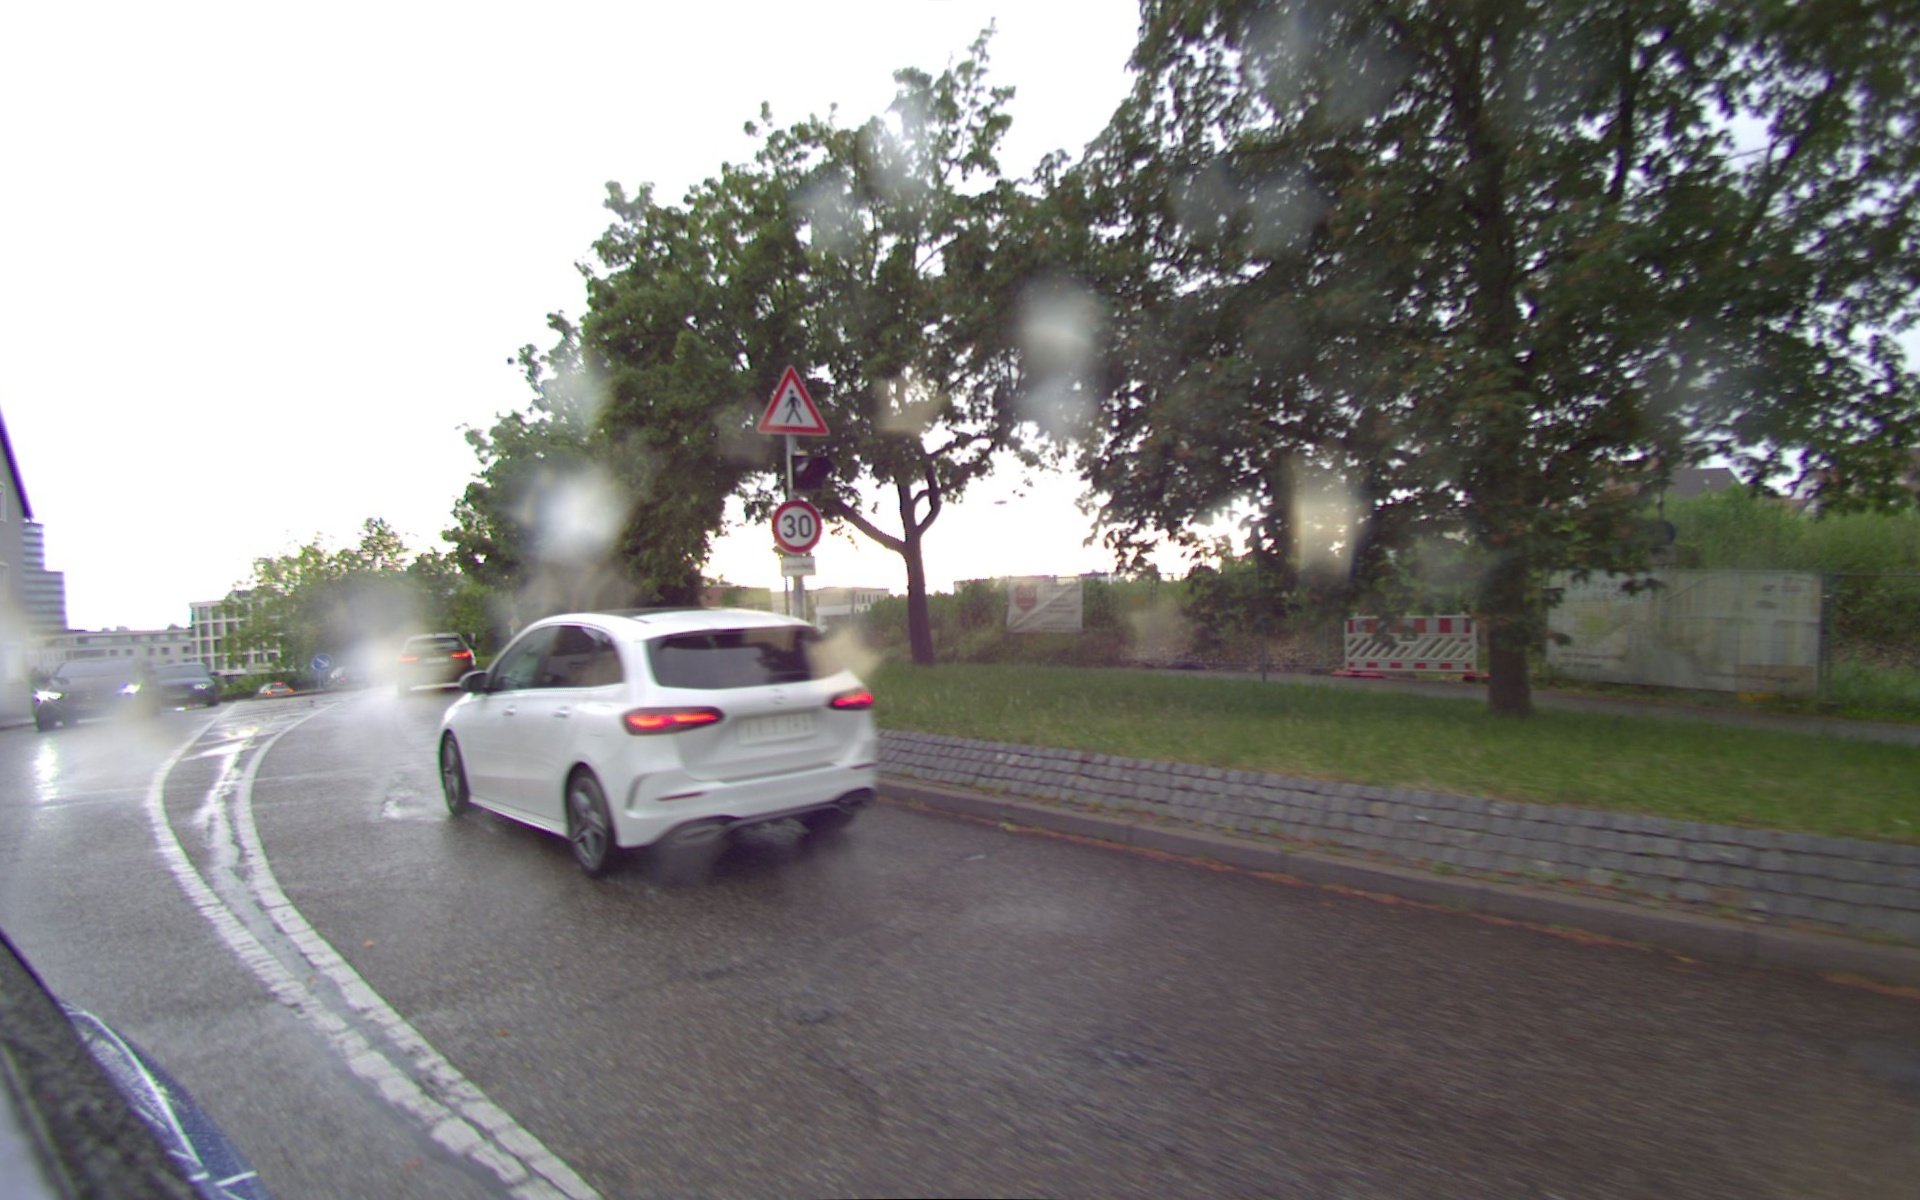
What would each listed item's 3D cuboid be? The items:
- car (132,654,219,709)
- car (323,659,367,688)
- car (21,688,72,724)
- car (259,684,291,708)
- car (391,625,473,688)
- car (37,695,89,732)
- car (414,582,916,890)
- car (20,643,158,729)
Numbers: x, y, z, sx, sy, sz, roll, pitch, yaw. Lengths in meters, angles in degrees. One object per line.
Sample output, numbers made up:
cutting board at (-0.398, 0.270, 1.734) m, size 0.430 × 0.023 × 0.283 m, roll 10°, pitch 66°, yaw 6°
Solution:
car at (-24.129, 2.570, 31.261) m, size 1.762 × 1.357 × 4.956 m, roll -5°, pitch -3°, yaw -35°
car at (-36.592, 4.383, 60.164) m, size 1.620 × 1.532 × 4.078 m, roll -4°, pitch -2°, yaw -39°
car at (-62.547, 7.256, 69.279) m, size 4.943 × 1.951 × 2.004 m, roll -9°, pitch -4°, yaw 42°
car at (-52.118, 7.311, 76.945) m, size 1.623 × 1.563 × 4.163 m, roll -7°, pitch 0°, yaw -38°
car at (-13.643, 1.408, 26.315) m, size 1.711 × 1.421 × 4.067 m, roll -3°, pitch 0°, yaw -26°
car at (-52.632, 6.658, 59.332) m, size 4.464 × 1.736 × 1.875 m, roll -9°, pitch -4°, yaw 44°
car at (-2.339, 0.729, 7.158) m, size 1.703 × 1.516 × 4.263 m, roll 0°, pitch -2°, yaw -42°
car at (-19.447, 1.894, 22.802) m, size 1.810 × 1.525 × 4.859 m, roll -6°, pitch 0°, yaw -36°
